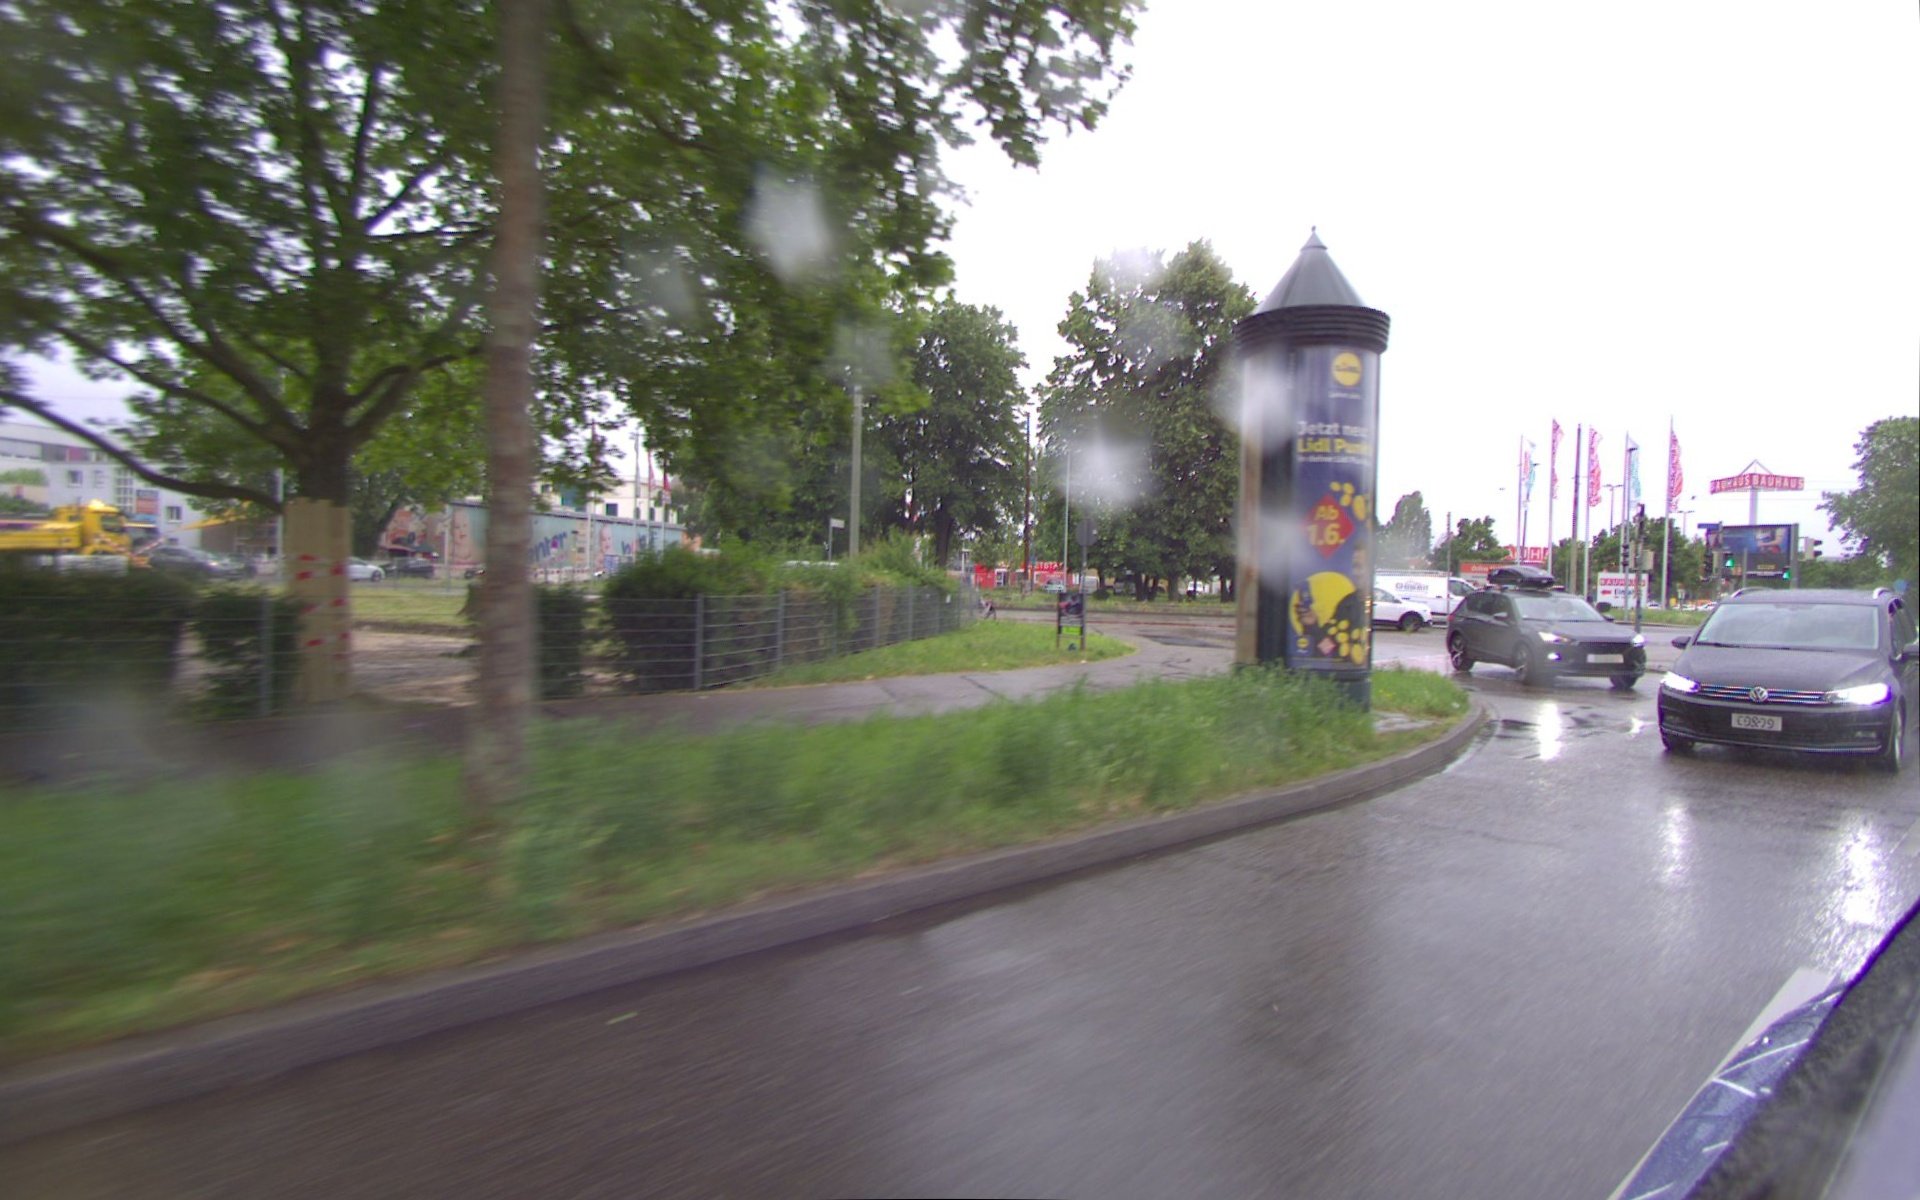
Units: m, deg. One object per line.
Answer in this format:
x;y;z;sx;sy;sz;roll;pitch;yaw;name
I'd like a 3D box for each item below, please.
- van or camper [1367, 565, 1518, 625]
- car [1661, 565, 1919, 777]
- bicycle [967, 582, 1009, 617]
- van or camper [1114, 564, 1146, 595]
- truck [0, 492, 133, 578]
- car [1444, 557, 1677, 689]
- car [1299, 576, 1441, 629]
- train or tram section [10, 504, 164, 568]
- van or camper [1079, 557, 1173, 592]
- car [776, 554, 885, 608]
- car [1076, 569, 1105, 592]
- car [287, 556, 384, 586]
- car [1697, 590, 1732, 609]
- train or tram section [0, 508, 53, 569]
18.489;-0.238;38.988;4.831;2.114;1.862;2;1;11;van or camper
8.863;0.570;10.387;4.118;1.748;1.859;0;0;-42;car
0.889;-0.033;32.878;0.795;1.051;1.629;1;2;-20;bicycle
13.324;-1.623;79.311;2.102;2.328;4.449;2;2;14;van or camper
-39.186;-2.592;40.858;2.459;3.387;9.433;0;1;13;truck
10.885;0.301;18.833;1.899;2.081;4.748;2;2;7;car
14.670;0.052;36.419;4.391;1.693;1.862;2;2;11;car
-51.884;-3.726;60.158;8.239;3.564;2.393;0;1;11;train or tram section
16.126;-2.464;98.227;8.847;3.196;2.975;0;1;14;van or camper
-5.309;-0.785;41.818;4.155;2.117;1.998;0;1;6;car
10.410;-1.579;80.625;1.839;1.749;3.952;2;2;14;car
-35.778;-1.656;58.144;1.823;1.617;4.595;2;2;20;car
67.403;-0.087;90.373;3.933;1.639;1.819;-1;2;-43;car
-60.070;-3.691;61.823;8.396;3.564;2.393;0;1;11;train or tram section
